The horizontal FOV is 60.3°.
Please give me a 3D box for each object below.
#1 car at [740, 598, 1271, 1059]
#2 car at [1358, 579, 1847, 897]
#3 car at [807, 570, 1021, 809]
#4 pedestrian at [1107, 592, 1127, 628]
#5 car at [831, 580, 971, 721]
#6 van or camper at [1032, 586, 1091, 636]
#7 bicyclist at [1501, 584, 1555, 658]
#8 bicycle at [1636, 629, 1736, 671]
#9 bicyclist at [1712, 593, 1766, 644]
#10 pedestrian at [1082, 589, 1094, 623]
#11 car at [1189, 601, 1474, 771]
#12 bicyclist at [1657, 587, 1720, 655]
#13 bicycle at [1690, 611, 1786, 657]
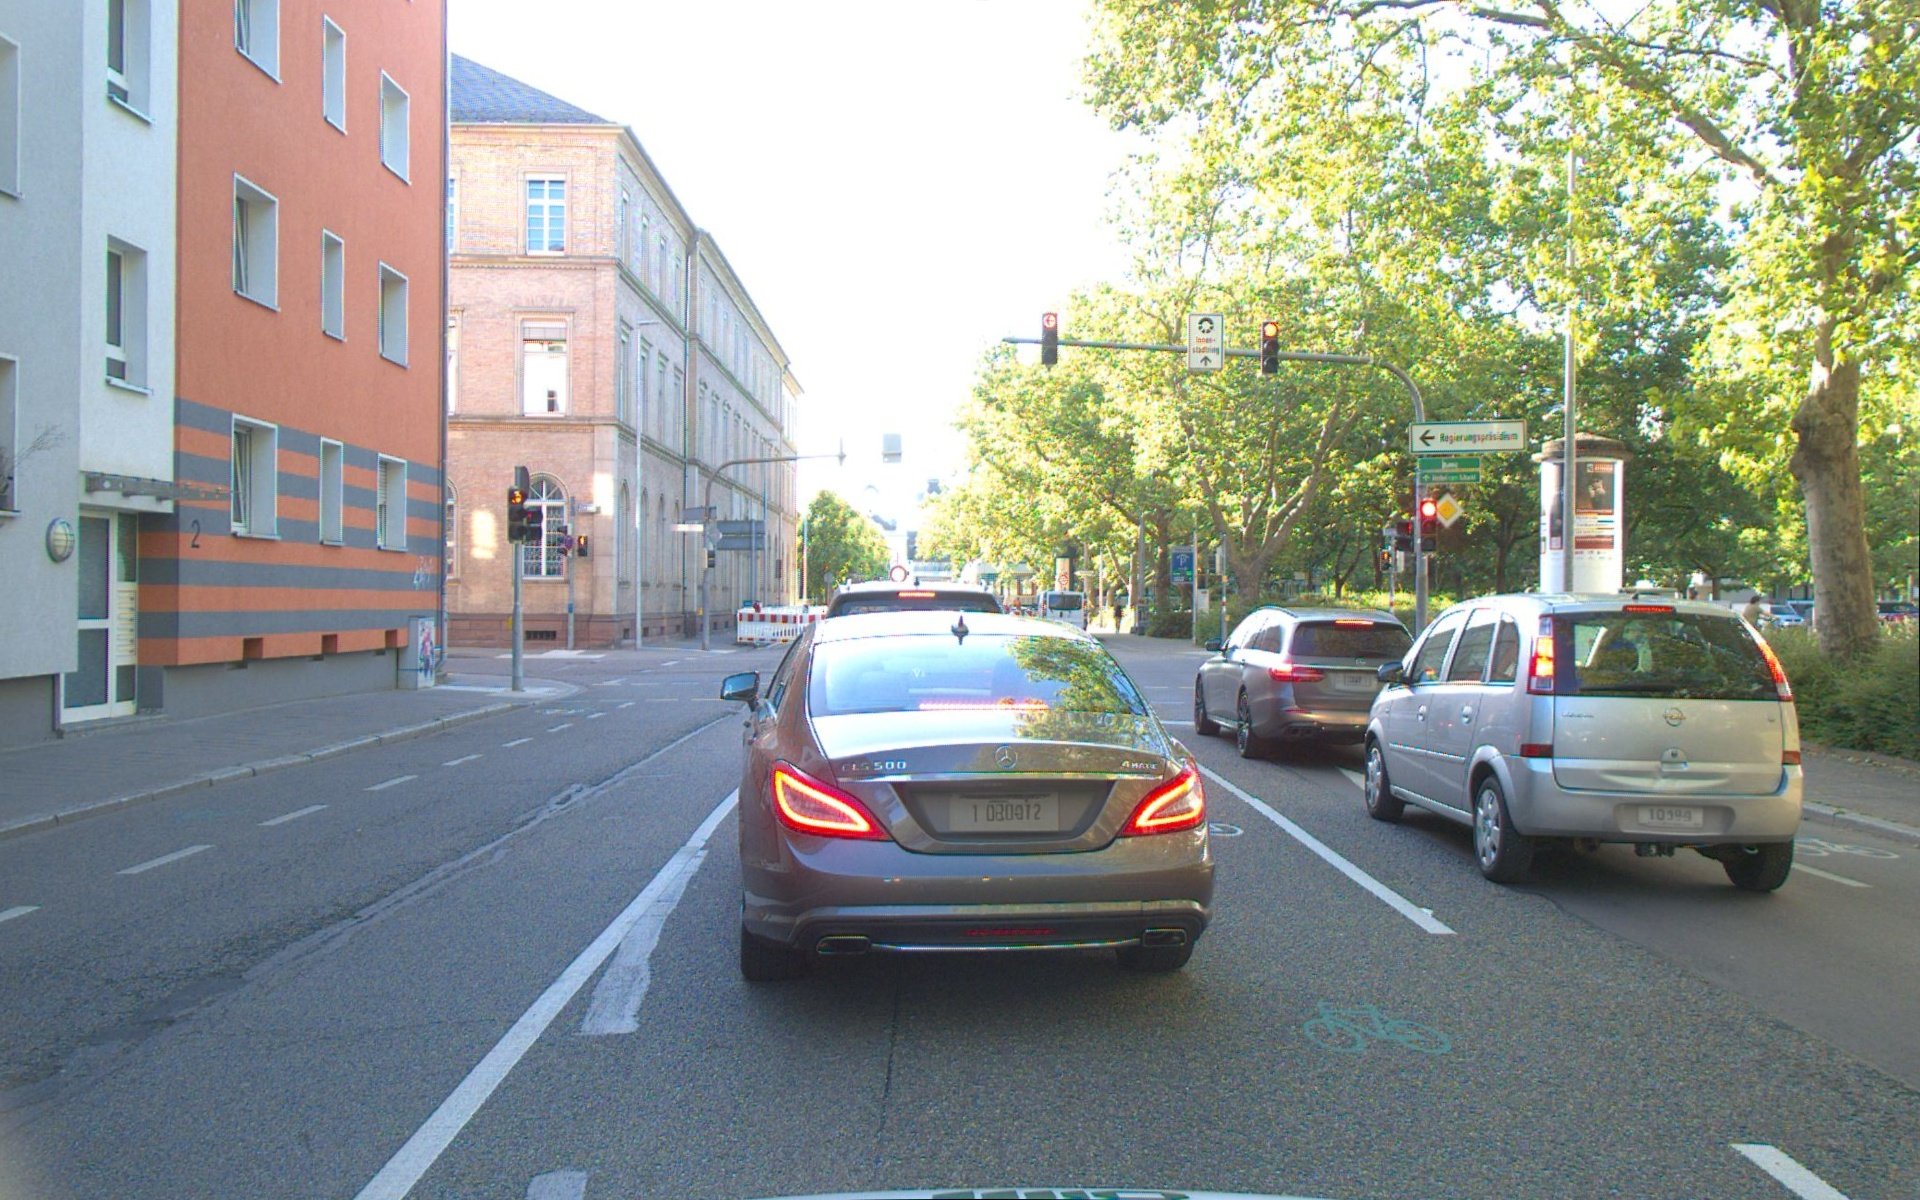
[{"bbox_3d":[-0.111,0.750,7.658,1.769,1.482,4.343,1,0,-8],"label":"car"},{"bbox_3d":[3.804,0.713,10.528,1.666,1.631,3.860,1,0,1],"label":"car"},{"bbox_3d":[-0.415,0.630,13.631,1.487,1.675,3.878,1,0,-3],"label":"car"},{"bbox_3d":[7.039,0.443,74.010,0.813,1.634,0.651,1,0,-1],"label":"pedestrian"},{"bbox_3d":[-0.787,0.645,23.226,1.783,1.793,3.999,0,0,-1],"label":"car"},{"bbox_3d":[4.115,0.434,67.699,1.953,1.975,4.592,1,0,-2],"label":"van or camper"},{"bbox_3d":[12.972,0.470,37.796,0.995,1.671,0.607,1,0,-7],"label":"bicyclist"},{"bbox_3d":[16.421,1.121,37.412,1.946,0.919,0.733,0,0,-2],"label":"bicycle"},{"bbox_3d":[18.134,0.426,38.532,0.971,1.174,0.620,0,0,1],"label":"bicyclist"},{"bbox_3d":[7.061,0.311,91.381,0.591,1.853,0.651,1,0,-1],"label":"pedestrian"},{"bbox_3d":[3.736,0.789,17.503,1.874,1.490,4.668,2,0,-1],"label":"car"},{"bbox_3d":[16.482,0.471,37.423,1.094,1.516,0.711,0,0,-2],"label":"bicyclist"},{"bbox_3d":[18.110,0.784,38.533,1.940,1.045,0.651,0,0,0],"label":"bicycle"}]
